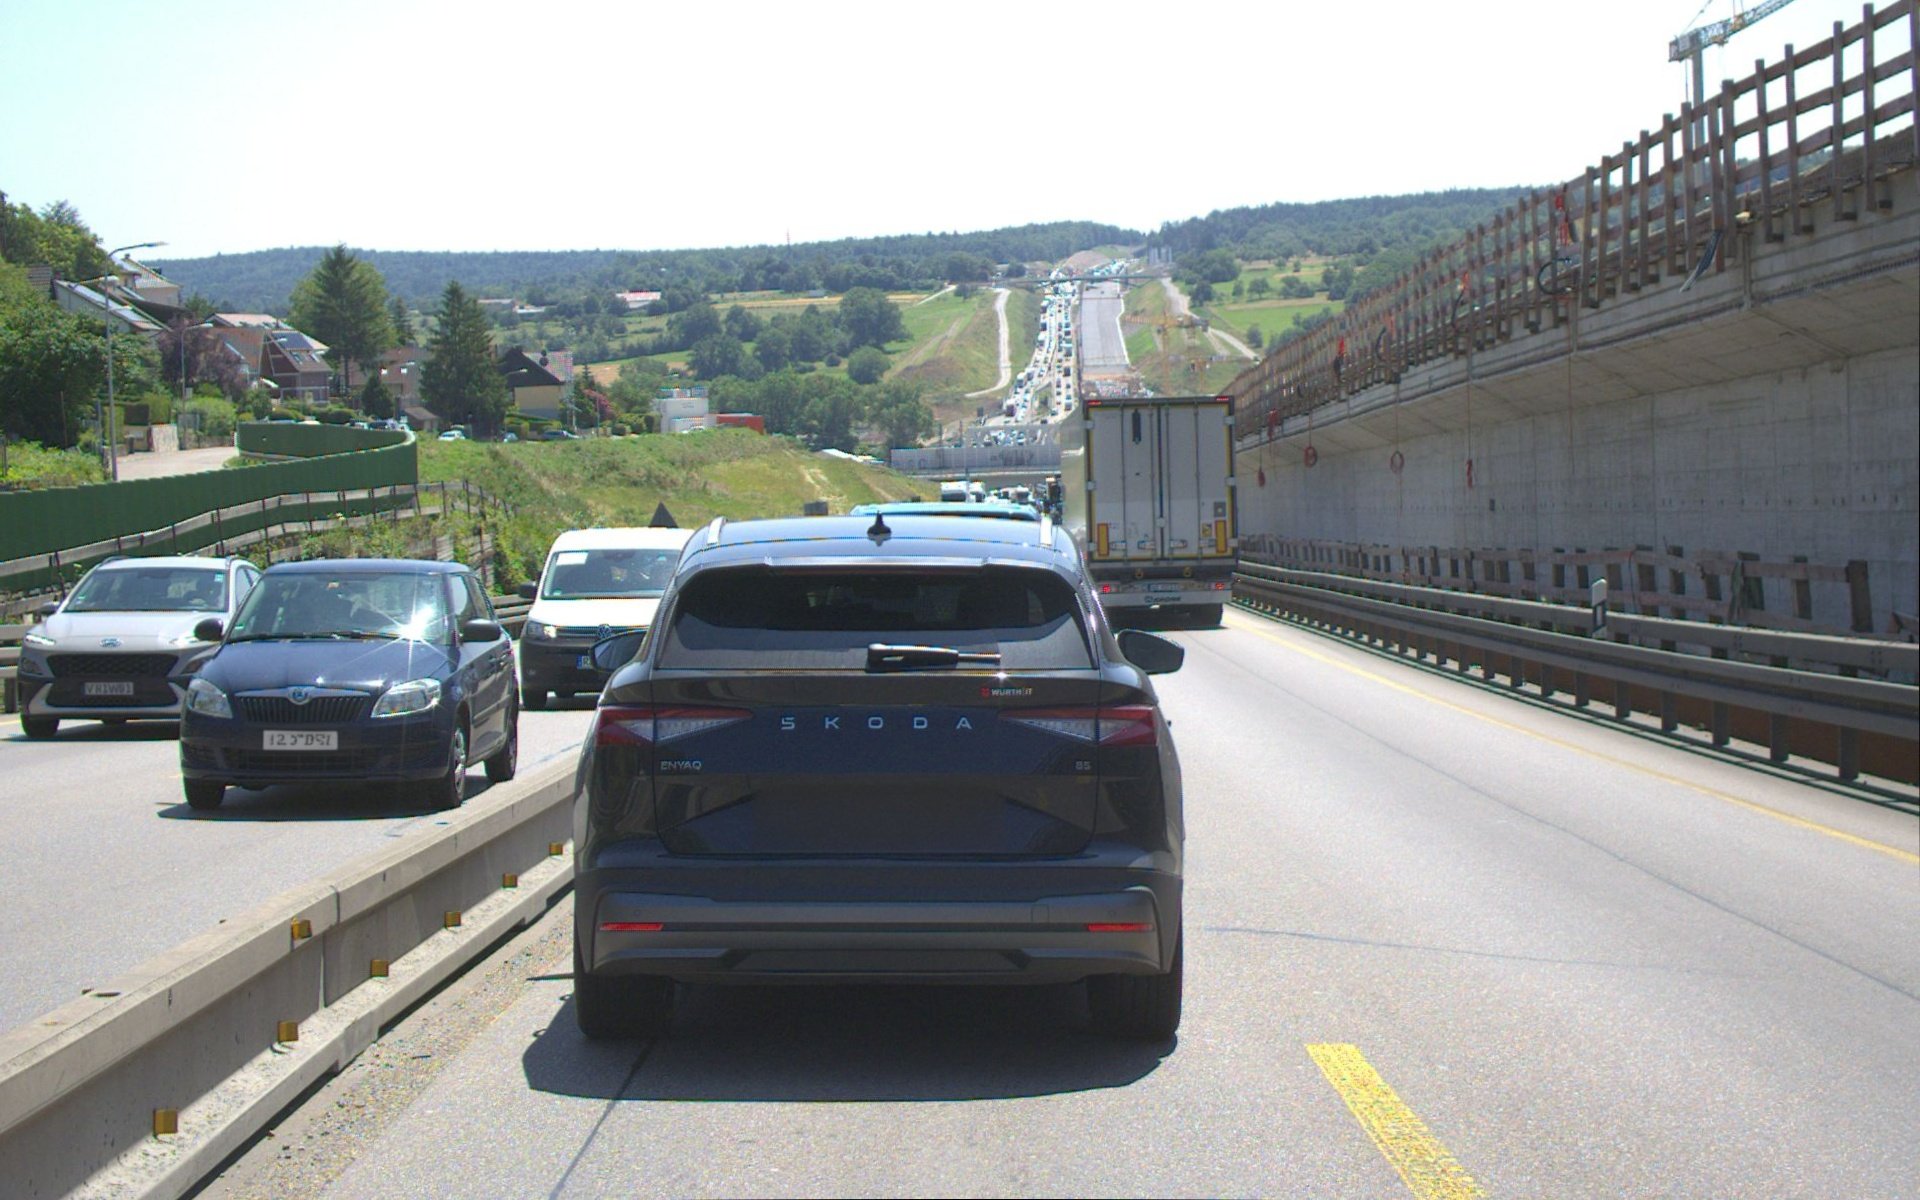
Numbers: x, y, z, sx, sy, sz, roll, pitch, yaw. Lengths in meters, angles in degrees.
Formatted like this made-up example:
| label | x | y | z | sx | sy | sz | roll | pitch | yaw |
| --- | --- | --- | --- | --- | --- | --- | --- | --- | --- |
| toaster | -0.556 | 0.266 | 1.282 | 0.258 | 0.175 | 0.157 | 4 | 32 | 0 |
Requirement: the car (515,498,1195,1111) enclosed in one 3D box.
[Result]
| label | x | y | z | sx | sy | sz | roll | pitch | yaw |
| --- | --- | --- | --- | --- | --- | --- | --- | --- | --- |
| car | -0.275 | 0.526 | 11.243 | 1.783 | 1.592 | 3.755 | -3 | 1 | 0 |

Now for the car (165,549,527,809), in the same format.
| label | x | y | z | sx | sy | sz | roll | pitch | yaw |
| --- | --- | --- | --- | --- | --- | --- | --- | --- | --- |
| car | -3.746 | 0.417 | 21.609 | 1.570 | 1.456 | 4.214 | 0 | 1 | -1 |

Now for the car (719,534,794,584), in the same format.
| label | x | y | z | sx | sy | sz | roll | pitch | yaw |
| --- | --- | --- | --- | --- | --- | --- | --- | --- | --- |
| car | -6.127 | -1.229 | 103.980 | 1.993 | 1.437 | 4.364 | 1 | 0 | 0 |

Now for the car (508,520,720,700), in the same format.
| label | x | y | z | sx | sy | sz | roll | pitch | yaw |
| --- | --- | --- | --- | --- | --- | --- | --- | --- | --- |
| car | -3.506 | 0.059 | 35.472 | 1.809 | 1.735 | 4.257 | 0 | 1 | -1 |

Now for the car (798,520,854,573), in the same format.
| label | x | y | z | sx | sy | sz | roll | pitch | yaw |
| --- | --- | --- | --- | --- | --- | --- | --- | --- | --- |
| car | -5.085 | -2.025 | 129.919 | 1.825 | 1.919 | 5.244 | -1 | 1 | -5 |

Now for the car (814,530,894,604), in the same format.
| label | x | y | z | sx | sy | sz | roll | pitch | yaw |
| --- | --- | --- | --- | --- | --- | --- | --- | --- | --- |
| car | -2.994 | -0.930 | 97.704 | 1.993 | 2.007 | 4.969 | -2 | 0 | 1 |

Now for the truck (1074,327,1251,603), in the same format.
| label | x | y | z | sx | sy | sz | roll | pitch | yaw |
| --- | --- | --- | --- | --- | --- | --- | --- | --- | --- |
| truck | 3.643 | -2.338 | 64.346 | 2.846 | 4.599 | 11.811 | -2 | 0 | 2 |

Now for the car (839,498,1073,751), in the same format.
| label | x | y | z | sx | sy | sz | roll | pitch | yaw |
| --- | --- | --- | --- | --- | --- | --- | --- | --- | --- |
| car | -0.058 | 0.151 | 27.628 | 1.749 | 1.889 | 3.755 | 0 | 1 | -1 |

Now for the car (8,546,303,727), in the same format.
| label | x | y | z | sx | sy | sz | roll | pitch | yaw |
| --- | --- | --- | --- | --- | --- | --- | --- | --- | --- |
| car | -6.957 | 0.267 | 30.107 | 1.702 | 1.474 | 3.974 | 0 | 1 | -1 |

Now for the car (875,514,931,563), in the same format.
| label | x | y | z | sx | sy | sz | roll | pitch | yaw |
| --- | --- | --- | --- | --- | --- | --- | --- | --- | --- |
| car | -2.322 | -2.517 | 141.739 | 2.157 | 1.899 | 5.326 | -1 | 0 | 1 |
